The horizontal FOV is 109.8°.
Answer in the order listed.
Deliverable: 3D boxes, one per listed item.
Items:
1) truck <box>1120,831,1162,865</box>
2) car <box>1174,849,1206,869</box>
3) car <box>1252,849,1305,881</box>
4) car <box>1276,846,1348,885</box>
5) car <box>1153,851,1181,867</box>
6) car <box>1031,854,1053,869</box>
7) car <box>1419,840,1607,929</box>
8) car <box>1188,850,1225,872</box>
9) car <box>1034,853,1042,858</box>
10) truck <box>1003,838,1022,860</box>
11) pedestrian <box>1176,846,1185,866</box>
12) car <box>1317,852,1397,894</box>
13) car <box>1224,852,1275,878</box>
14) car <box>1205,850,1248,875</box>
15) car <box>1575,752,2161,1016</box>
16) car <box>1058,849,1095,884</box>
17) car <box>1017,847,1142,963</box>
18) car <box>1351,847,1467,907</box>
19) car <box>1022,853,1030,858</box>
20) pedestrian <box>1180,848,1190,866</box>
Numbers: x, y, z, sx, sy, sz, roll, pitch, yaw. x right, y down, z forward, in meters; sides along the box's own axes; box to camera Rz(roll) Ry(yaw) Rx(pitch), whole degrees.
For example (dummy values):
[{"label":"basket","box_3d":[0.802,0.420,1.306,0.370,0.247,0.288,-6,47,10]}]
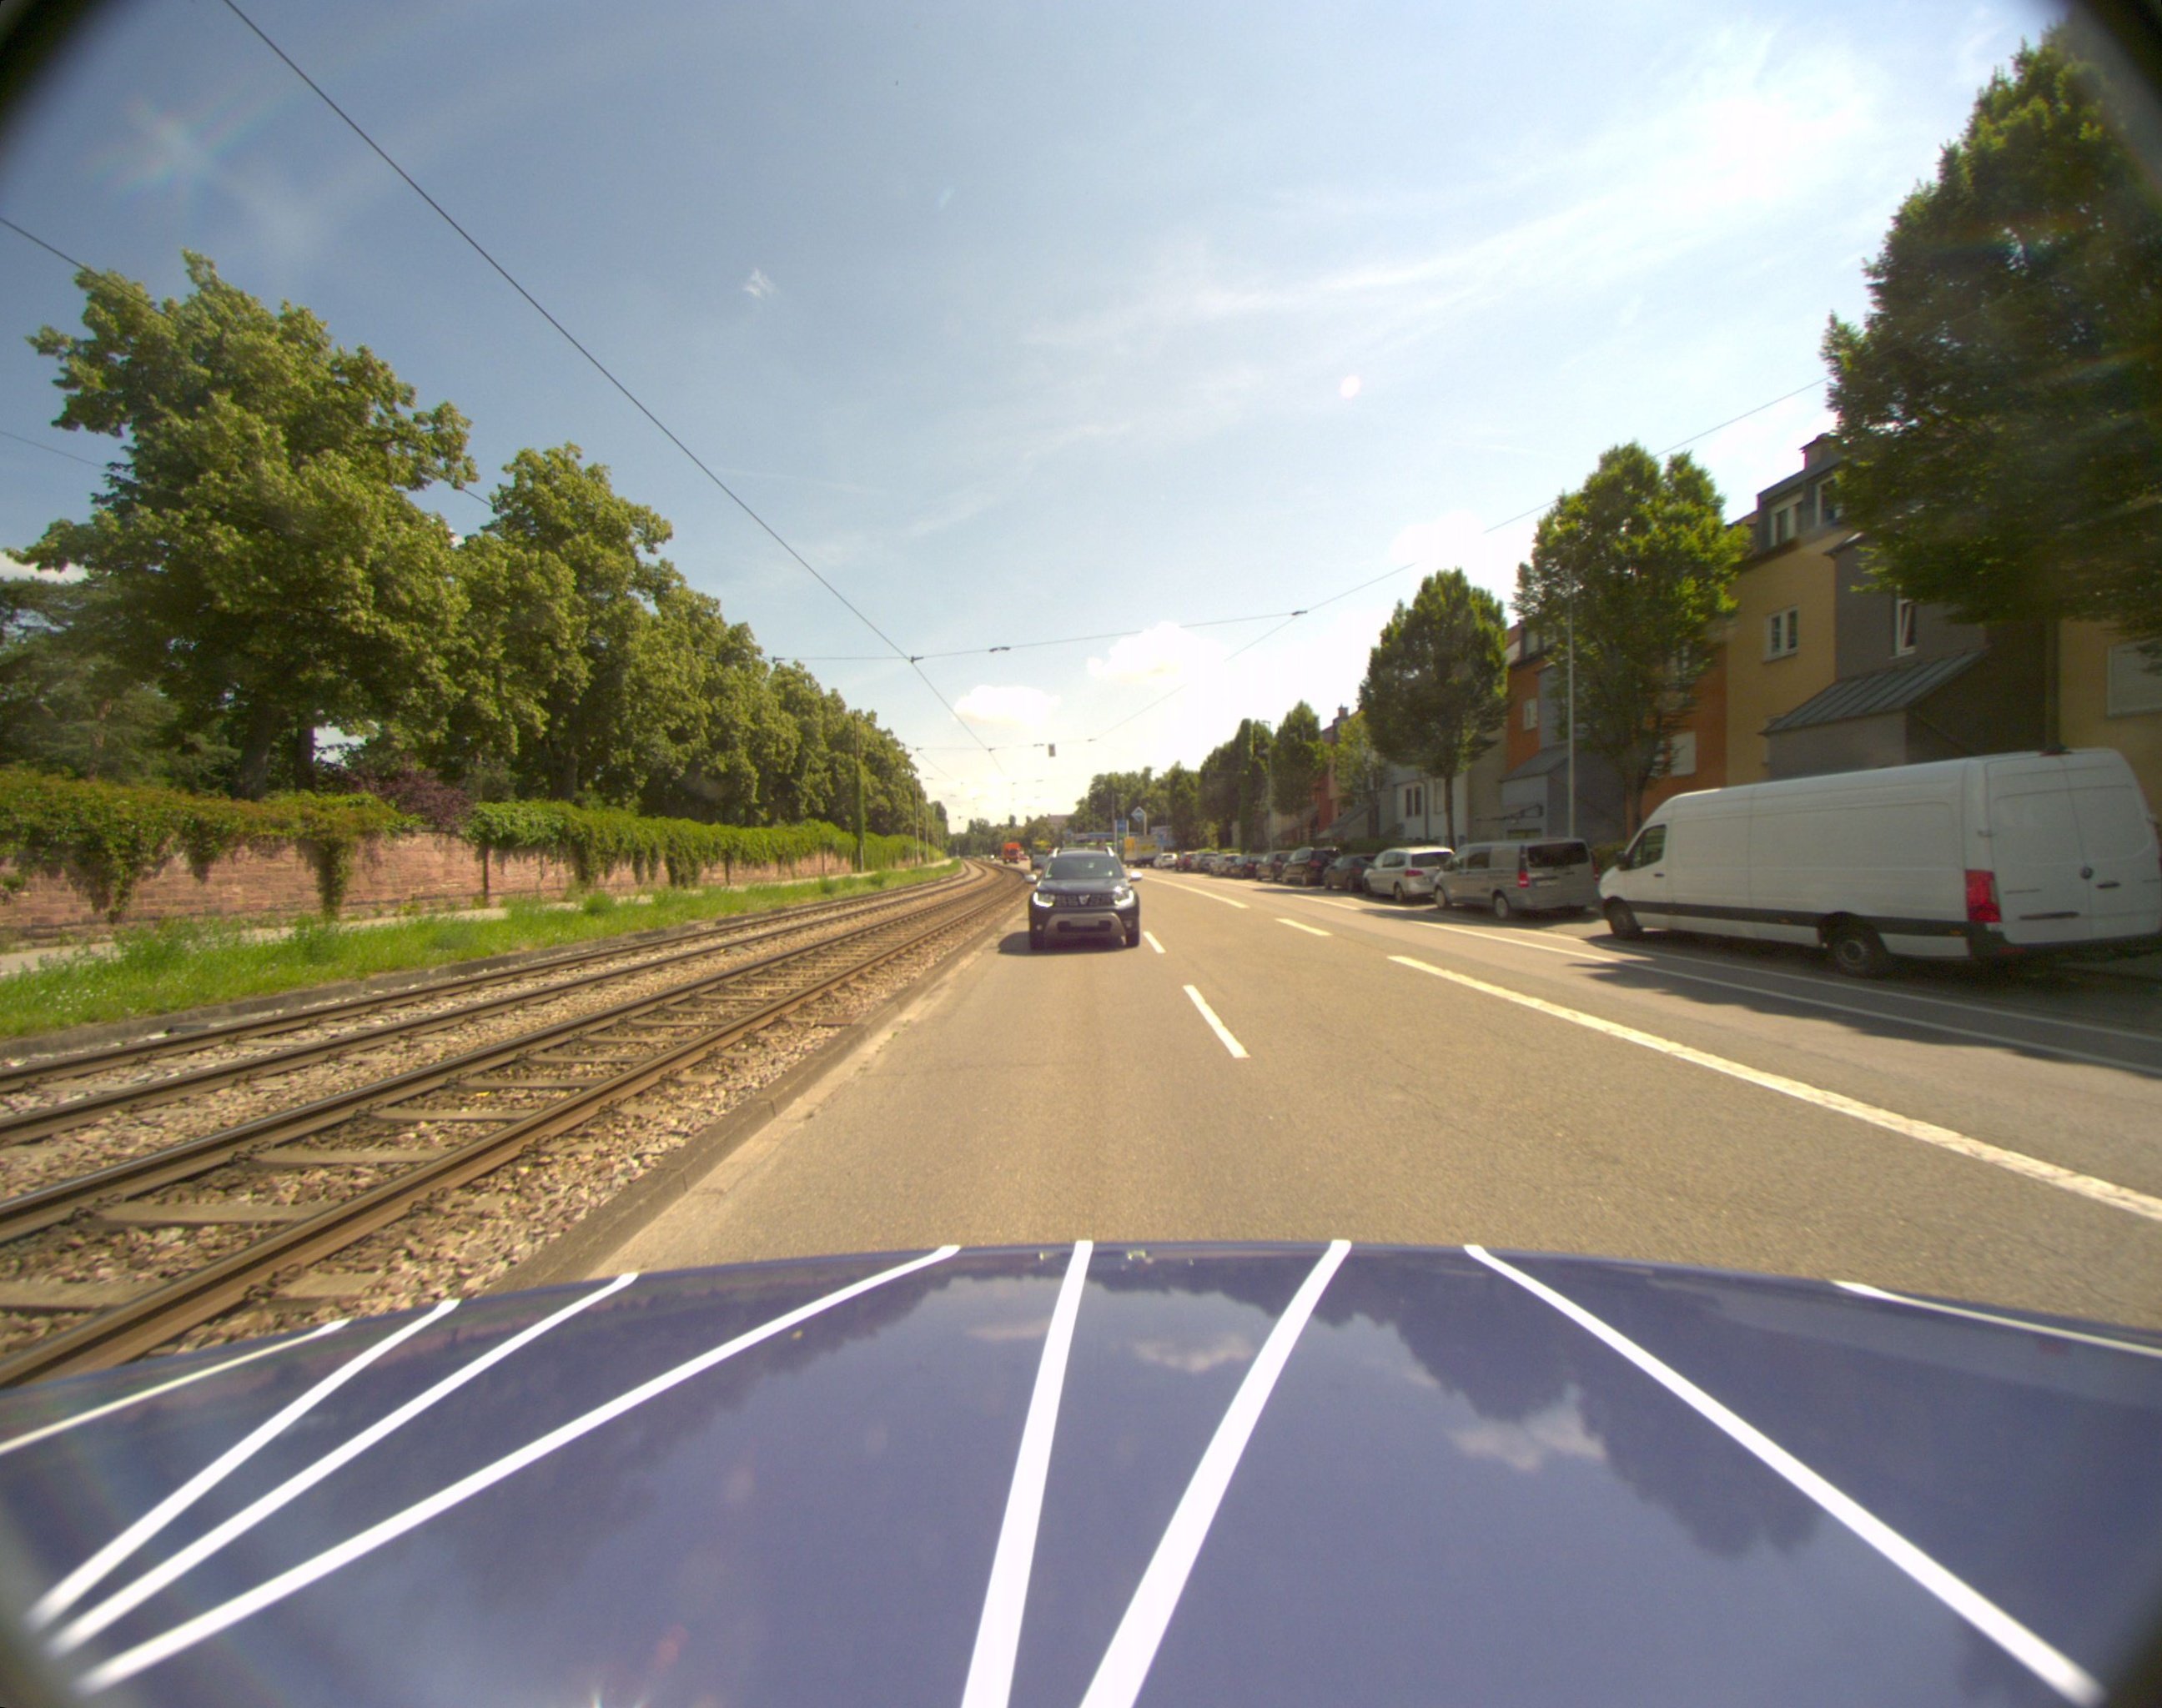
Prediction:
[{"label":"truck","box_3d":[6.547,-0.633,84.841,2.840,3.528,8.164,-3,0,-8]},{"label":"car","box_3d":[9.205,0.368,64.464,1.661,1.600,4.170,-1,1,-8]},{"label":"car","box_3d":[10.617,0.527,41.137,1.660,1.608,4.283,0,1,-2]},{"label":"car","box_3d":[10.800,0.516,35.865,1.755,1.706,4.886,-1,0,-2]},{"label":"car","box_3d":[8.199,0.468,72.996,1.661,1.402,4.394,-1,0,-8]},{"label":"car","box_3d":[-3.881,0.711,75.220,1.999,1.346,3.998,2,0,-5]},{"label":"car","box_3d":[10.876,0.666,19.695,1.811,1.884,5.362,-3,0,1]},{"label":"car","box_3d":[9.638,0.517,58.759,1.660,1.600,4.685,-3,0,-4]},{"label":"car","box_3d":[-11.484,0.387,202.766,2.000,1.379,3.997,-1,0,-7]},{"label":"truck","box_3d":[-11.786,-0.817,130.728,2.847,3.574,8.699,-1,1,-7]},{"label":"pedestrian","box_3d":[9.939,0.195,76.112,0.642,1.911,0.710,0,1,36]},{"label":"car","box_3d":[10.927,0.711,30.413,1.603,1.463,4.085,-1,2,-2]},{"label":"car","box_3d":[10.402,0.659,47.256,1.746,1.438,4.962,-2,0,-3]},{"label":"car","box_3d":[10.159,0.571,53.390,1.660,1.500,4.893,-4,1,-5]},{"label":"car","box_3d":[10.888,0.282,11.445,2.329,2.635,7.035,-5,0,2]},{"label":"car","box_3d":[-0.283,0.594,39.077,1.802,1.683,4.143,-1,0,-2]},{"label":"car","box_3d":[0.062,0.758,13.879,1.801,1.652,4.788,-3,0,2]},{"label":"car","box_3d":[10.736,0.672,25.326,1.721,1.742,4.903,-2,0,0]},{"label":"car","box_3d":[-14.663,0.403,201.326,2.000,1.379,3.997,-1,0,-7]},{"label":"pedestrian","box_3d":[10.281,0.297,75.212,0.685,1.784,0.702,-1,1,-34]}]
